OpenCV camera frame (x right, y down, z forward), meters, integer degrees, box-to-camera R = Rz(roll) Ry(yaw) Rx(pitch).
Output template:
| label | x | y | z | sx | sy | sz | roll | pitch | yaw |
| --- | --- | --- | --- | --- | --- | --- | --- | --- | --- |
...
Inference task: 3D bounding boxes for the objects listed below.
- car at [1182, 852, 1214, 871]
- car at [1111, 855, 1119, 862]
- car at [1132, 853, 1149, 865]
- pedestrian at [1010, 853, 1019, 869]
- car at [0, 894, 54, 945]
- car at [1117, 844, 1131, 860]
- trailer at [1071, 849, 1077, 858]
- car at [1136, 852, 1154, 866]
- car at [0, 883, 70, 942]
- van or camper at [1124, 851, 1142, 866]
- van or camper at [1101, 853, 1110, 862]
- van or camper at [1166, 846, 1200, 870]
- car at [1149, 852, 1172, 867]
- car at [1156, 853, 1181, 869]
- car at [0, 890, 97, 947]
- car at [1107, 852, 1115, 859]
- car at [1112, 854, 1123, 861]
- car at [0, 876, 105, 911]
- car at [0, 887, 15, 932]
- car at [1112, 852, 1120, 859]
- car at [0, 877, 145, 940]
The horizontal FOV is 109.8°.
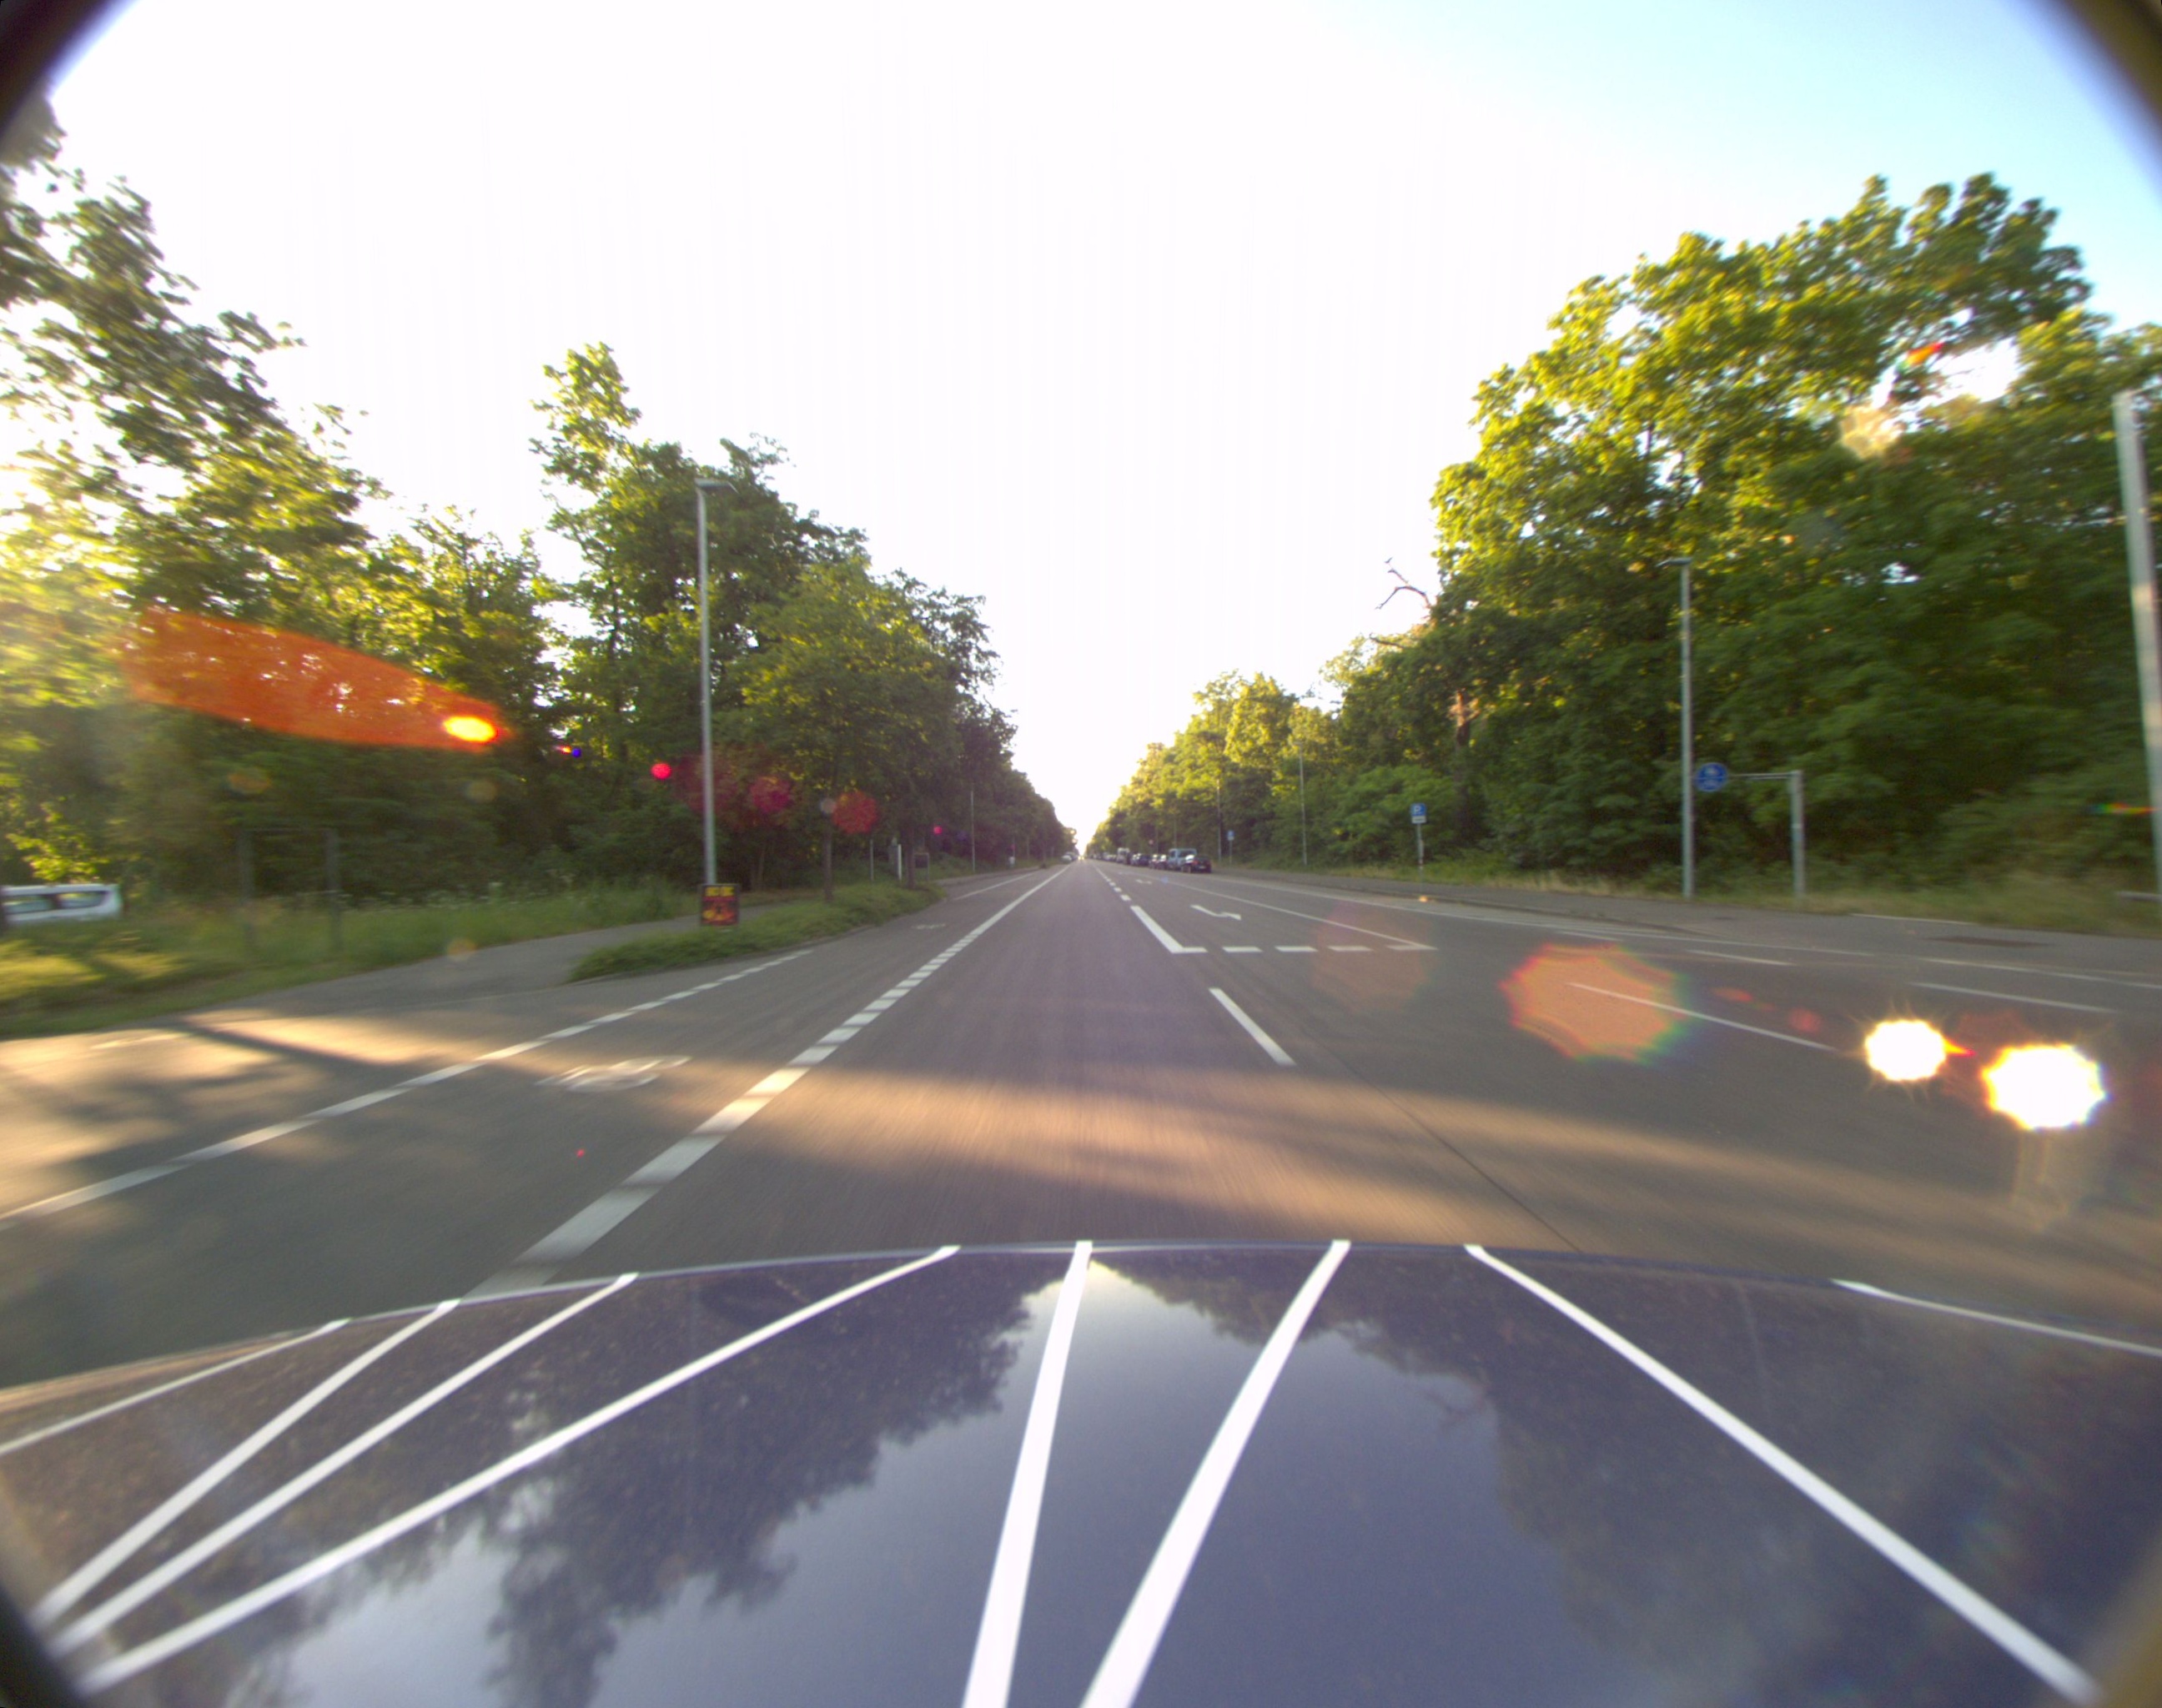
| label | x | y | z | sx | sy | sz | roll | pitch | yaw |
| --- | --- | --- | --- | --- | --- | --- | --- | --- | --- |
| car | 9.558 | 0.596 | 62.382 | 1.692 | 1.453 | 4.241 | 0 | 0 | -5 |
| car | 7.411 | 0.884 | 165.468 | 1.716 | 1.500 | 3.657 | 0 | 0 | -1 |
| car | 7.624 | 0.636 | 97.894 | 1.673 | 1.492 | 4.245 | 0 | 0 | -2 |
| pedestrian | -7.251 | 0.764 | 82.759 | 0.840 | 1.741 | 0.726 | -2 | 1 | 1 |
| car | -35.101 | 2.115 | 23.572 | 1.537 | 1.535 | 3.650 | -1 | 0 | 30 |
| car | 7.416 | -0.320 | 131.992 | 2.084 | 2.591 | 7.088 | 1 | 0 | 0 |
| trailer | -2.159 | -0.052 | 236.369 | 1.866 | 2.633 | 4.269 | -3 | 0 | 0 |
| car | 7.812 | 0.624 | 92.810 | 1.749 | 1.702 | 4.522 | 0 | 0 | -2 |
| car | -33.237 | 1.798 | 22.568 | 1.537 | 1.696 | 3.650 | -1 | 0 | 30 |
| van or camper | 7.371 | 0.639 | 108.073 | 2.008 | 2.006 | 5.460 | 1 | 0 | -2 |
| van or camper | 7.030 | 0.939 | 216.758 | 2.116 | 2.376 | 6.381 | 1 | 0 | -1 |
| van or camper | 9.093 | 0.380 | 67.990 | 2.037 | 2.082 | 5.012 | 0 | 0 | -4 |
| car | 8.257 | 0.570 | 78.783 | 1.621 | 1.525 | 4.038 | 0 | 0 | -5 |
| car | 8.454 | 0.675 | 73.457 | 1.547 | 1.484 | 3.970 | 0 | 0 | -6 |
| car | -30.892 | 1.862 | 21.405 | 1.537 | 1.473 | 3.650 | -1 | 0 | 30 |
| car | 7.378 | 0.416 | 188.949 | 1.699 | 1.636 | 4.572 | 0 | 0 | -2 |
| car | 7.466 | 0.753 | 155.223 | 1.850 | 1.454 | 4.229 | 1 | -1 | -2 |
| car | -54.864 | 2.079 | 40.313 | 1.537 | 1.652 | 3.650 | -1 | 1 | 33 |
| car | -41.469 | 2.114 | 27.217 | 1.537 | 1.652 | 3.650 | -1 | 0 | 30 |
| car | 7.853 | 0.356 | 171.724 | 1.601 | 1.386 | 4.051 | 0 | 0 | -1 |
| car | -26.233 | 1.353 | 18.569 | 1.537 | 1.388 | 4.007 | -1 | 0 | 30 |
